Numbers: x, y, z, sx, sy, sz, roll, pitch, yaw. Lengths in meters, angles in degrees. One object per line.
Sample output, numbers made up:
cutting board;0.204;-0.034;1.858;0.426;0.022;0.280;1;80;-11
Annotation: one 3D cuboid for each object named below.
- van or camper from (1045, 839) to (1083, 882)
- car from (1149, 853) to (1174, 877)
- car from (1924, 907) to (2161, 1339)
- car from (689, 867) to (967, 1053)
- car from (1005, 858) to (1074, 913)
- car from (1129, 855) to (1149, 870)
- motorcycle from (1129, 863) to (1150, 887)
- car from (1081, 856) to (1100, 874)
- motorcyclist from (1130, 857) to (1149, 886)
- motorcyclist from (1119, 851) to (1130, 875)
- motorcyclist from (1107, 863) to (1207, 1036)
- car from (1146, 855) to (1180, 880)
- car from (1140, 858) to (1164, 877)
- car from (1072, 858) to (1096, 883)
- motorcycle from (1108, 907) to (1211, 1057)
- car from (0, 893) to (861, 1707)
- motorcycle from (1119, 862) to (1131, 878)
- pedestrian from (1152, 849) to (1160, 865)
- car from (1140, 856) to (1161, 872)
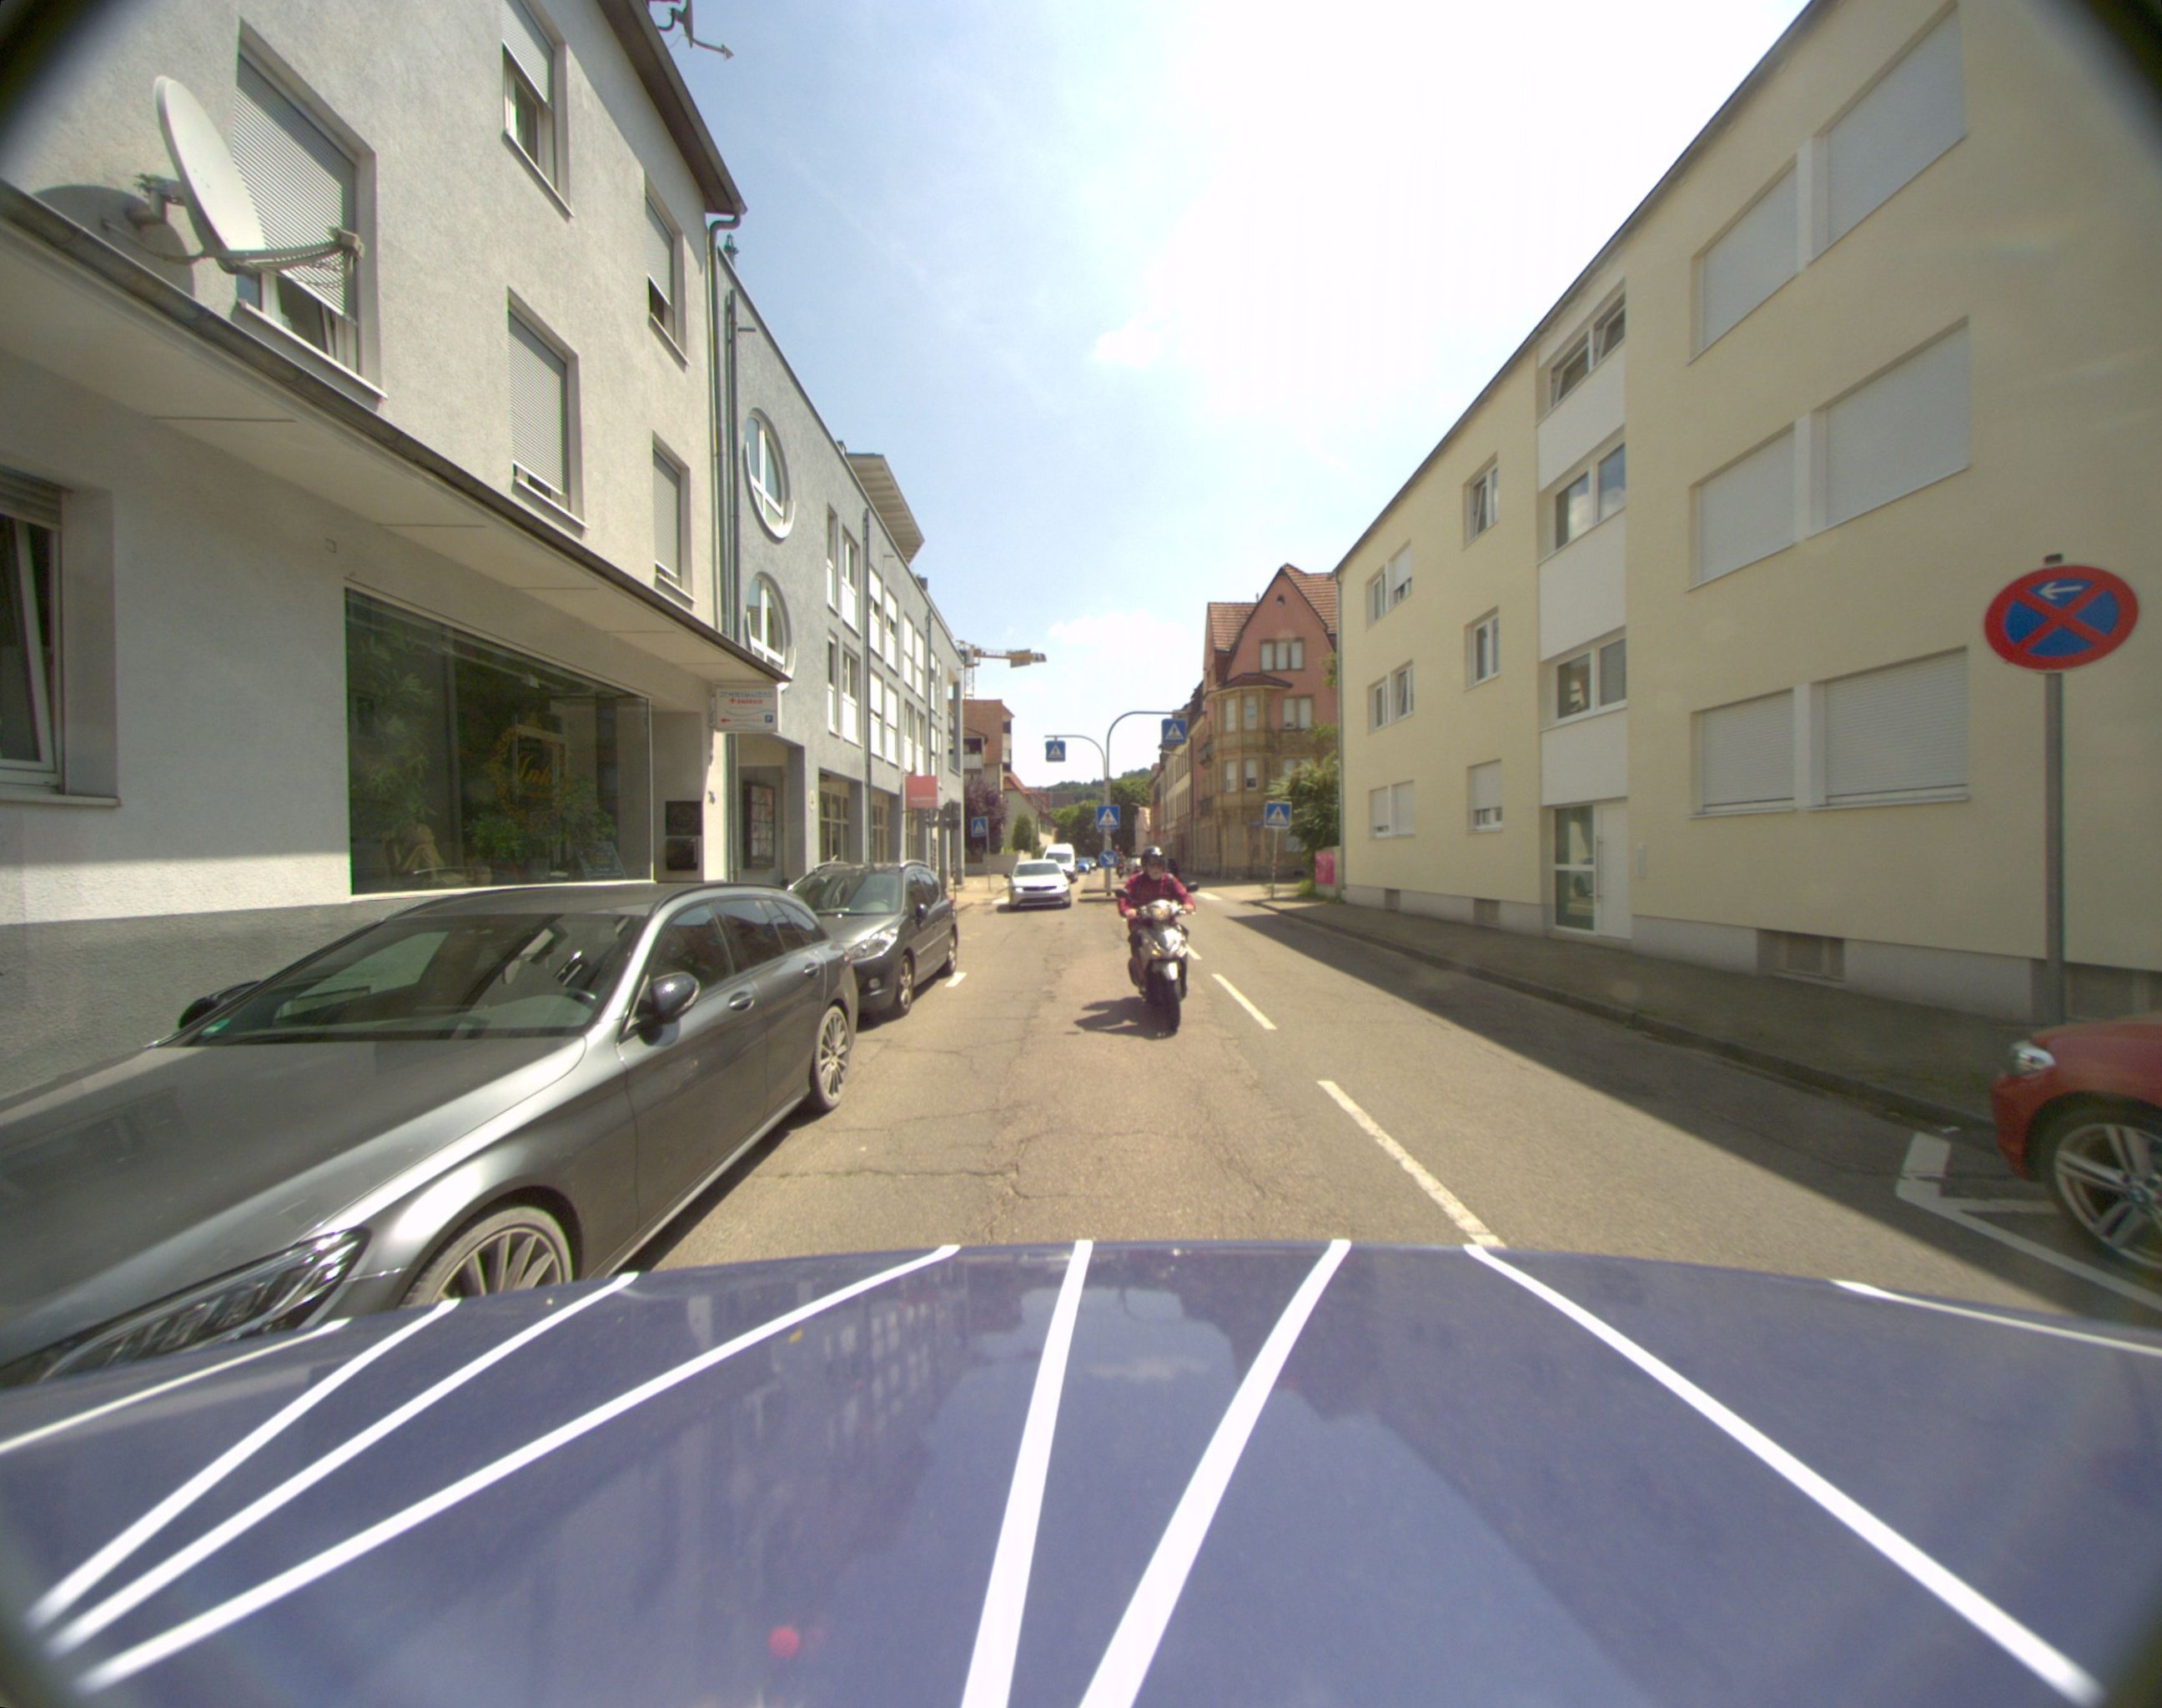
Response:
van or camper;-0.882;0.381;43.447;1.998;2.273;5.144;0;0;1
car;5.407;0.716;51.015;1.440;1.514;2.695;0;1;1
car;4.522;0.946;1.158;1.838;1.408;4.290;-1;0;3
car;-2.488;0.955;8.562;1.714;1.499;4.000;-1;0;1
car;-1.164;0.884;23.100;1.812;1.512;4.000;-1;0;1
car;6.197;0.874;81.227;1.882;1.501;4.382;0;0;2
motorcycle;3.017;1.075;39.281;0.898;1.169;2.208;-1;0;1
car;1.095;1.284;88.882;1.998;2.002;4.001;-2;0;3
motorcyclist;3.020;0.887;39.239;0.918;1.471;1.203;-1;1;1
motorcyclist;2.910;0.596;50.419;0.714;1.625;1.069;0;0;4
motorcyclist;0.660;0.815;6.930;0.793;1.431;1.020;-2;0;1
car;5.048;0.789;47.087;1.787;1.449;4.635;0;0;2
car;5.568;1.009;60.266;1.638;1.423;4.019;1;0;2
car;0.323;1.433;67.584;1.998;2.002;4.000;-2;0;1
motorcycle;0.663;1.088;7.054;0.760;1.049;1.992;-2;0;1
car;-2.394;1.006;3.129;1.734;1.412;4.544;-1;0;-1
motorcycle;2.936;1.059;50.395;0.714;1.022;2.240;0;0;4
pedestrian;8.315;0.337;83.993;0.770;1.761;0.764;-2;0;1
car;6.084;0.866;66.738;1.602;1.433;3.495;0;0;0
